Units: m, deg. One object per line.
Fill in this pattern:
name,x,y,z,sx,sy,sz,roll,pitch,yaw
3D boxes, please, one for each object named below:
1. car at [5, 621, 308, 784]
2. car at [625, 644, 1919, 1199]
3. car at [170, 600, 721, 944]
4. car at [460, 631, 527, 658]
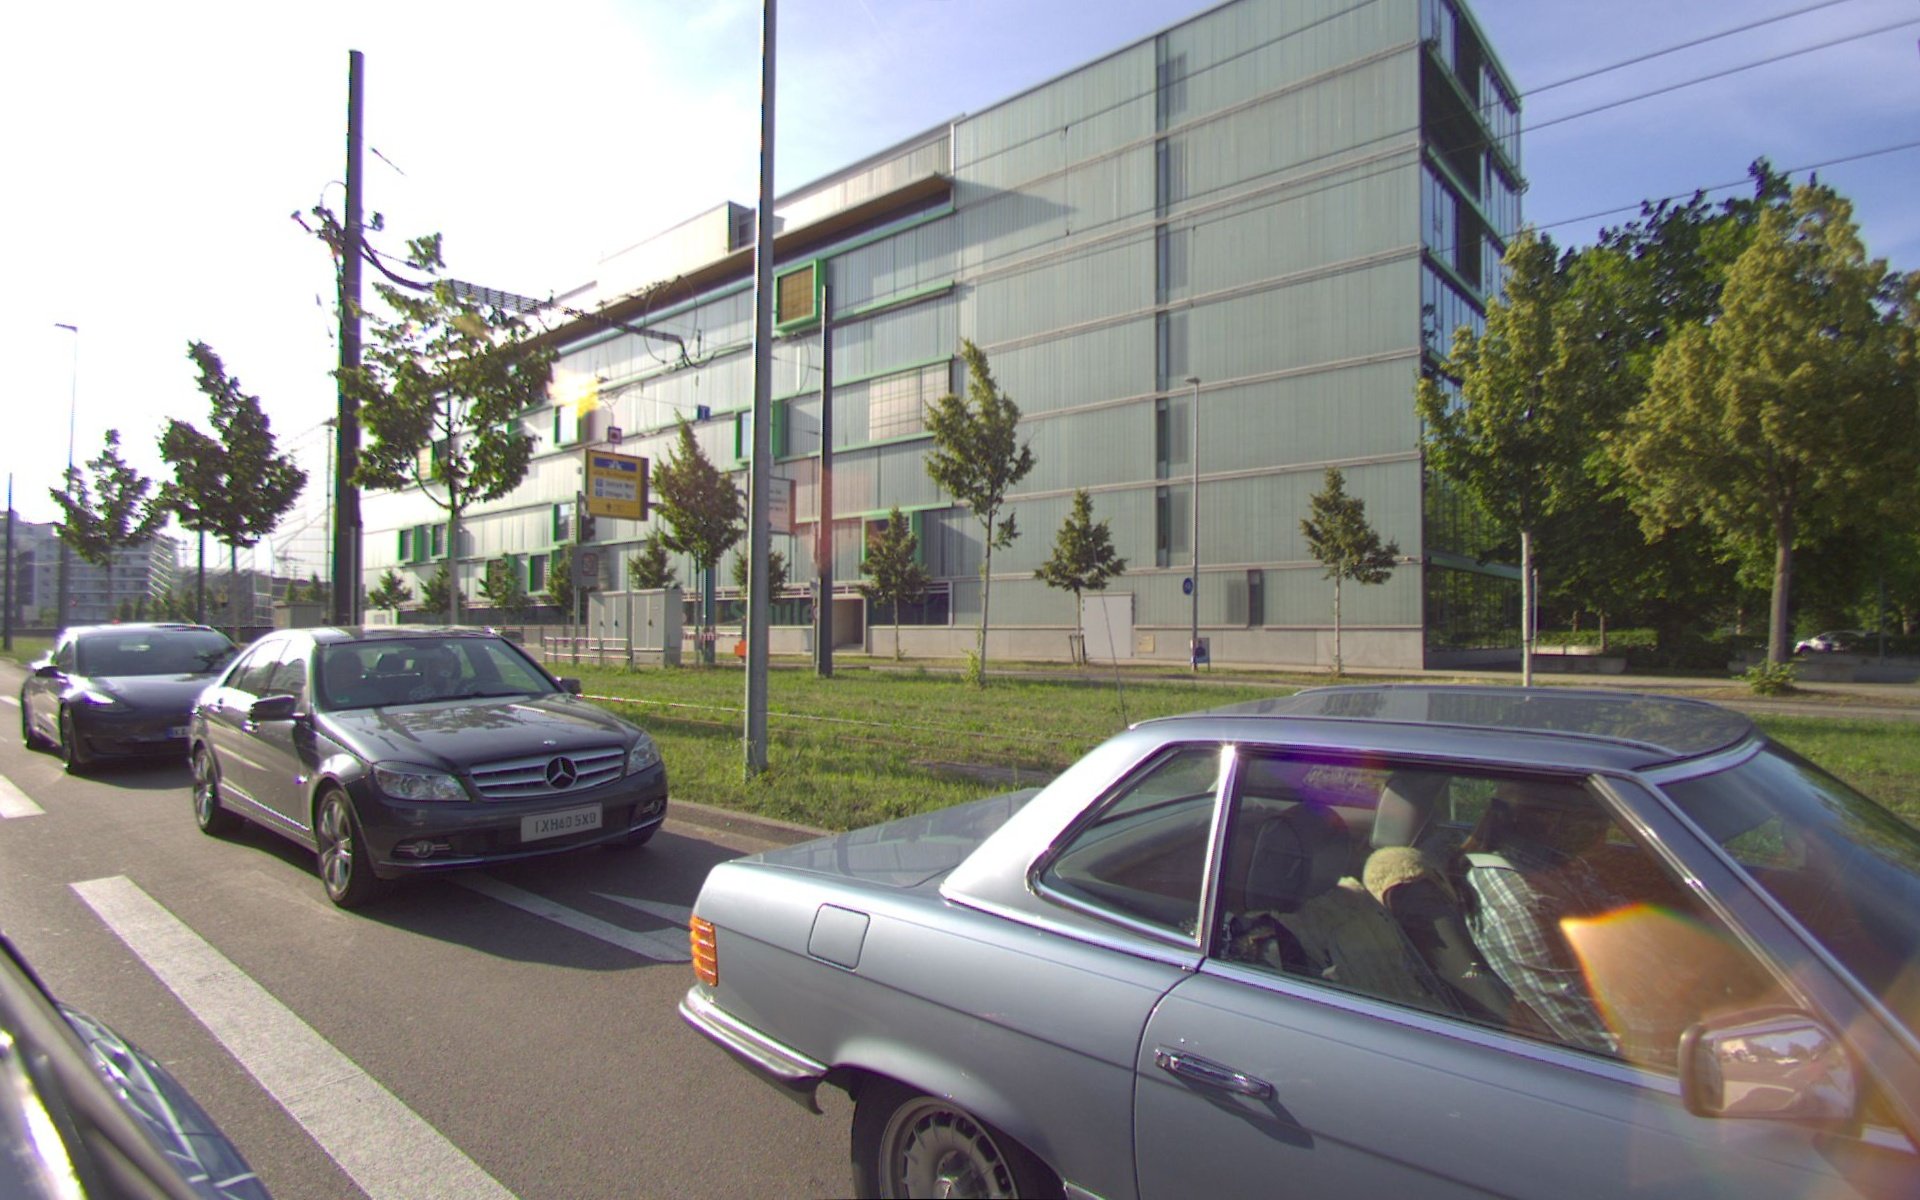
car,-8.929,0.985,11.112,4.332,1.396,1.870,-2,-1,41
car,1.386,0.786,1.823,4.397,1.340,1.746,-2,-1,40
car,-3.564,0.813,6.575,4.353,1.490,1.767,-2,-1,42
car,-26.761,2.542,58.041,4.219,1.539,1.858,-2,-3,39
